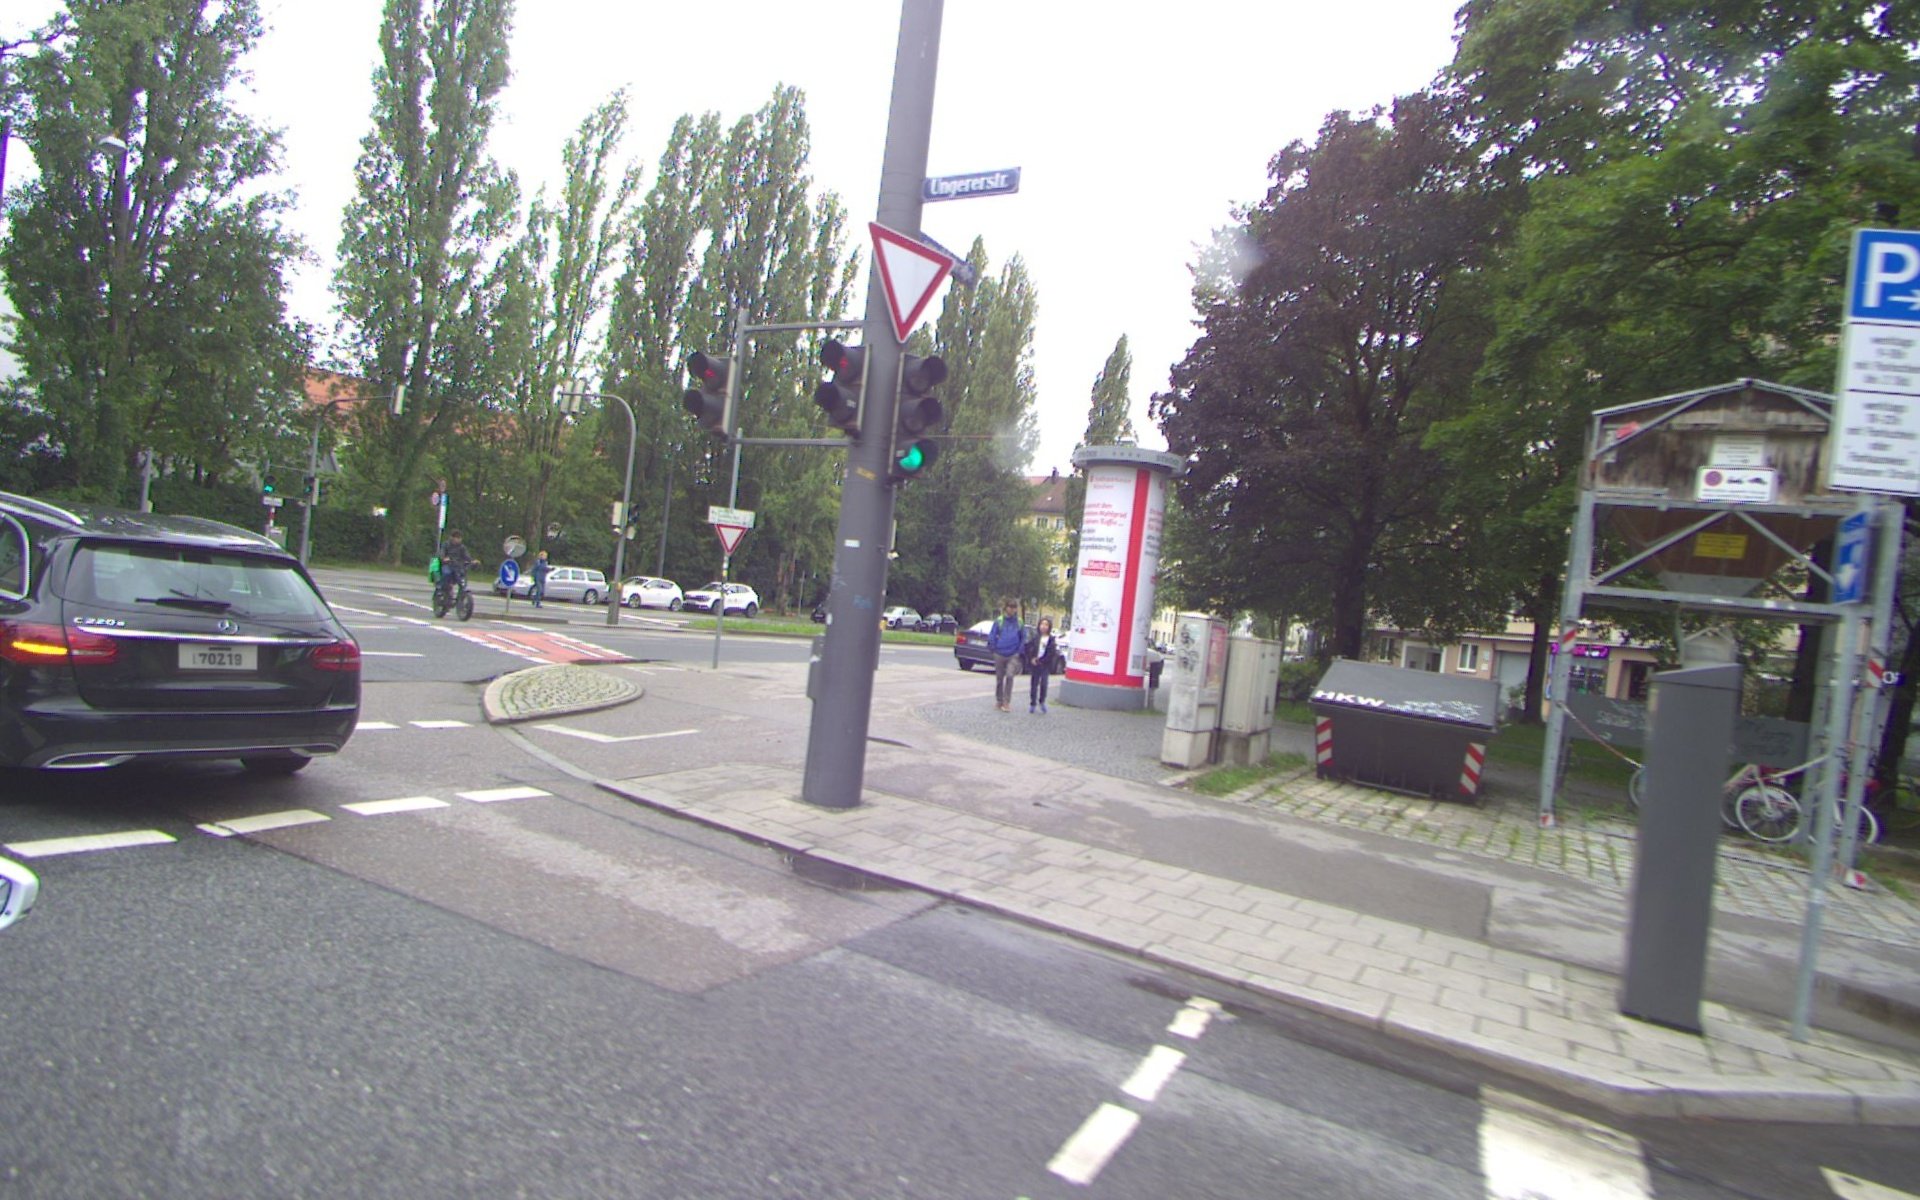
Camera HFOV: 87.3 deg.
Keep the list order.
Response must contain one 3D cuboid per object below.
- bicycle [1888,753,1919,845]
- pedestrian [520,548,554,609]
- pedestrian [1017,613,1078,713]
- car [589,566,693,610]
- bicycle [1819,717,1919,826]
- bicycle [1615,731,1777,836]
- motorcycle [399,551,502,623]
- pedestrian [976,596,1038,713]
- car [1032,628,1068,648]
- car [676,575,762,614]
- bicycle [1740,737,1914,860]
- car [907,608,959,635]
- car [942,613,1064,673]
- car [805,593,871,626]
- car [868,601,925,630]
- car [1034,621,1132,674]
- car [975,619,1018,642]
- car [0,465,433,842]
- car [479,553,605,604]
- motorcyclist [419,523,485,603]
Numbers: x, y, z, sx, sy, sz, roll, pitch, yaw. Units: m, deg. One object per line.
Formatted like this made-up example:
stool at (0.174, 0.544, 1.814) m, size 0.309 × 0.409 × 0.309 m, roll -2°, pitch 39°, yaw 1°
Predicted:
bicycle at (15.151, 3.108, 14.835) m, size 0.619 × 1.372 × 2.471 m, roll 7°, pitch -2°, yaw 3°
pedestrian at (-12.324, -0.628, 29.316) m, size 0.692 × 1.682 × 0.550 m, roll 7°, pitch -1°, yaw -19°
pedestrian at (1.315, 0.936, 15.091) m, size 0.536 × 1.422 × 0.719 m, roll 6°, pitch 2°, yaw 30°
car at (-14.147, -0.505, 44.783) m, size 1.756 × 1.504 × 4.252 m, roll 6°, pitch -1°, yaw 29°
bicycle at (14.142, 2.589, 14.914) m, size 0.619 × 1.374 × 2.469 m, roll 7°, pitch 0°, yaw 3°
bicycle at (8.435, 2.085, 11.590) m, size 0.310 × 0.904 × 1.400 m, roll 8°, pitch 0°, yaw -33°
motorcycle at (-10.062, -0.258, 19.861) m, size 1.993 × 1.183 × 0.630 m, roll 6°, pitch -1°, yaw 27°
pedestrian at (0.713, 0.802, 15.197) m, size 0.536 × 1.684 × 0.718 m, roll 6°, pitch 4°, yaw 30°
car at (8.183, 3.465, 91.610) m, size 1.755 × 1.504 × 4.135 m, roll 6°, pitch -1°, yaw 27°
car at (-11.791, -0.244, 49.527) m, size 1.755 × 1.504 × 4.135 m, roll 6°, pitch -1°, yaw 27°
bicycle at (9.510, 2.128, 11.148) m, size 0.619 × 1.028 × 2.241 m, roll 6°, pitch -2°, yaw 20°
car at (-1.857, 1.528, 70.508) m, size 1.755 × 1.504 × 4.135 m, roll 6°, pitch -1°, yaw 27°
car at (1.251, 1.194, 27.126) m, size 1.700 × 1.332 × 3.996 m, roll 7°, pitch 0°, yaw 26°
car at (-7.118, 0.574, 58.980) m, size 1.755 × 1.504 × 4.135 m, roll 6°, pitch -1°, yaw 27°
car at (-4.121, 1.020, 65.654) m, size 1.755 × 1.504 × 4.135 m, roll 6°, pitch -1°, yaw 27°
car at (4.116, 1.601, 33.005) m, size 1.700 × 1.424 × 4.371 m, roll 7°, pitch 0°, yaw 26°
car at (2.955, 2.457, 81.111) m, size 1.755 × 1.504 × 4.135 m, roll 6°, pitch -1°, yaw 27°
car at (-5.525, 0.063, 6.077) m, size 4.624 × 1.568 × 1.867 m, roll 7°, pitch -1°, yaw 30°
car at (-16.419, -0.828, 39.740) m, size 1.756 × 1.504 × 4.345 m, roll 6°, pitch -1°, yaw 29°
motorcyclist at (-10.033, -0.728, 19.891) m, size 0.866 × 1.459 × 0.620 m, roll 6°, pitch -1°, yaw 27°
